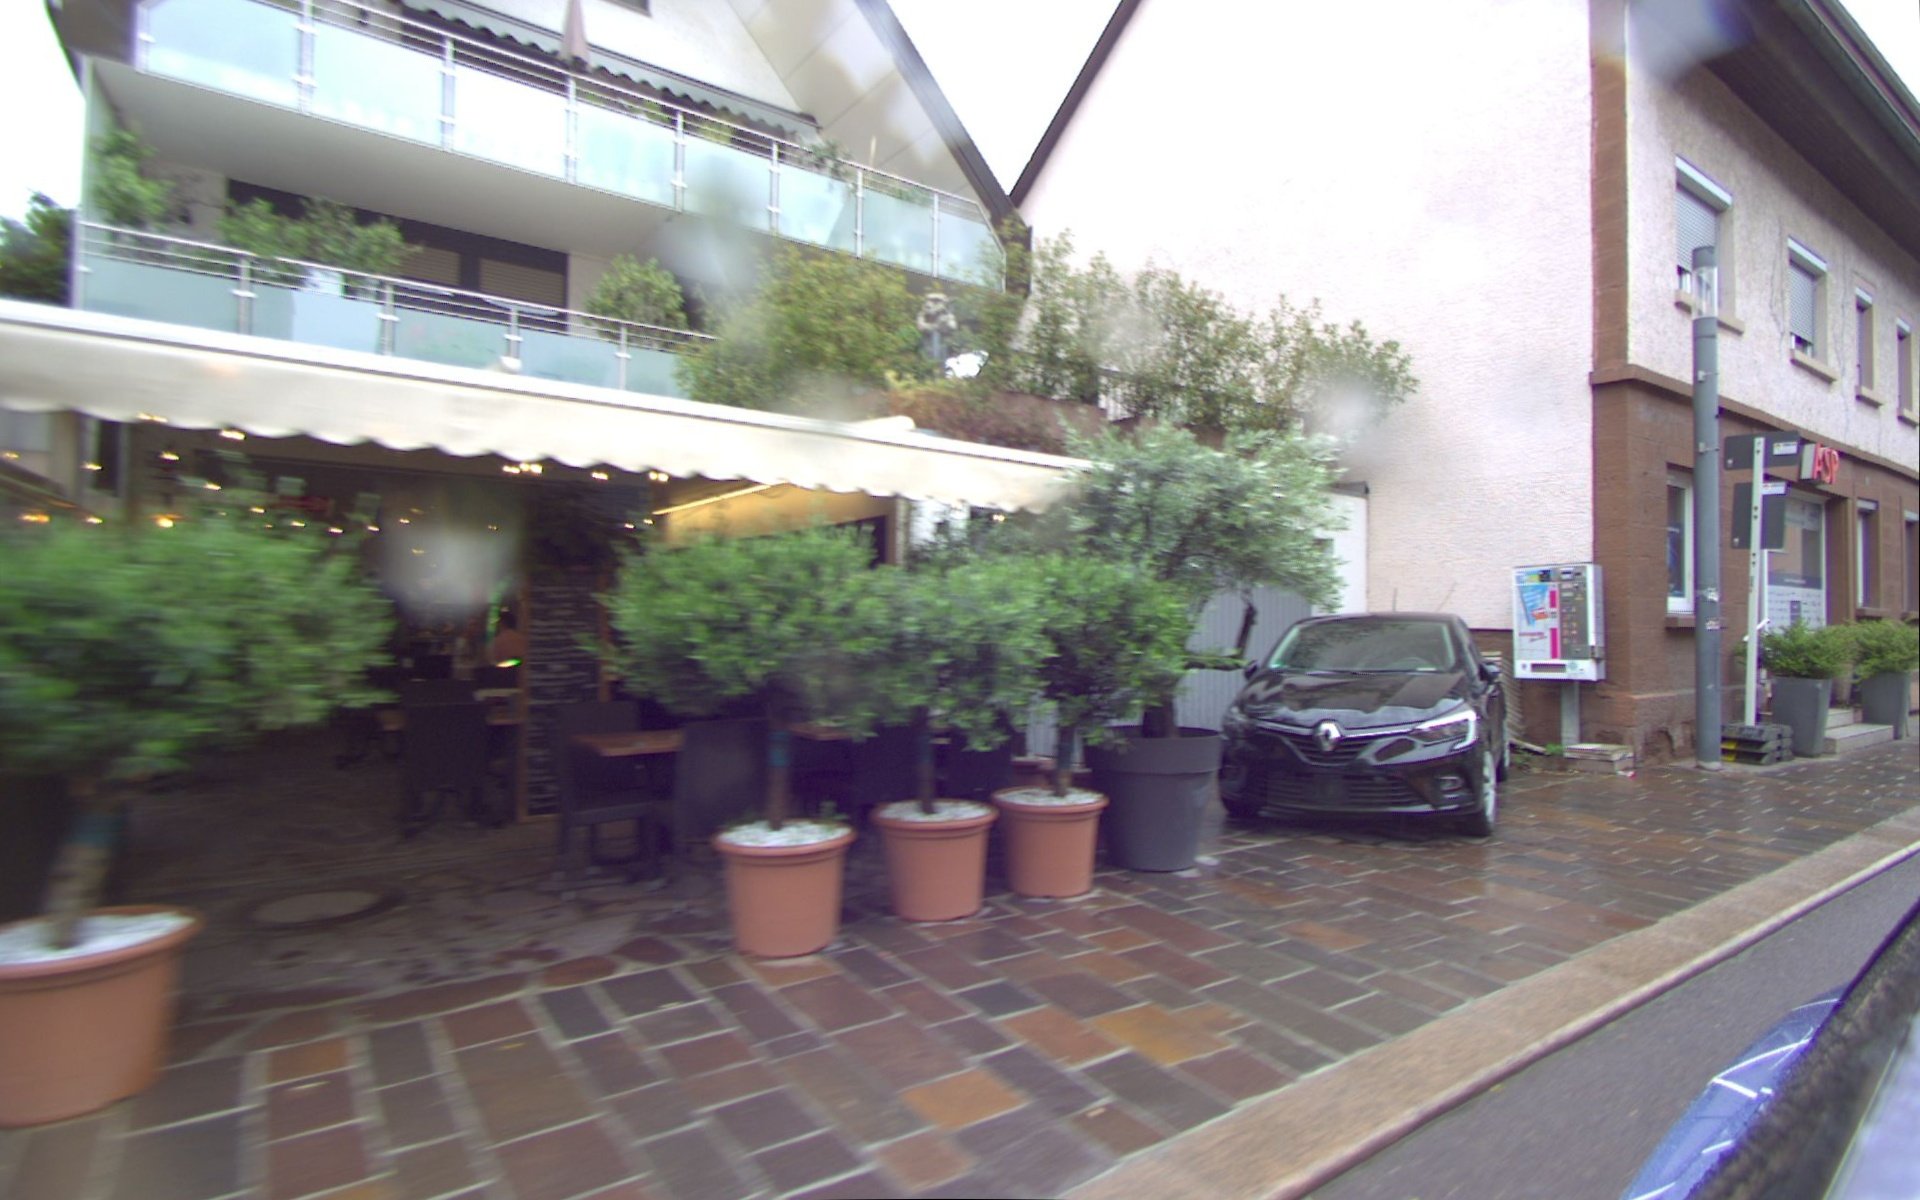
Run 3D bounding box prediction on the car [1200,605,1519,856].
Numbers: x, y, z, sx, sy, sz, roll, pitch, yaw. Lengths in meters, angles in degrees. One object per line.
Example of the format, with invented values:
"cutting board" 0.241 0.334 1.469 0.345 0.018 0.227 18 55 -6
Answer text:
"car" 3.256 0.740 7.748 1.724 1.374 3.894 0 0 30
